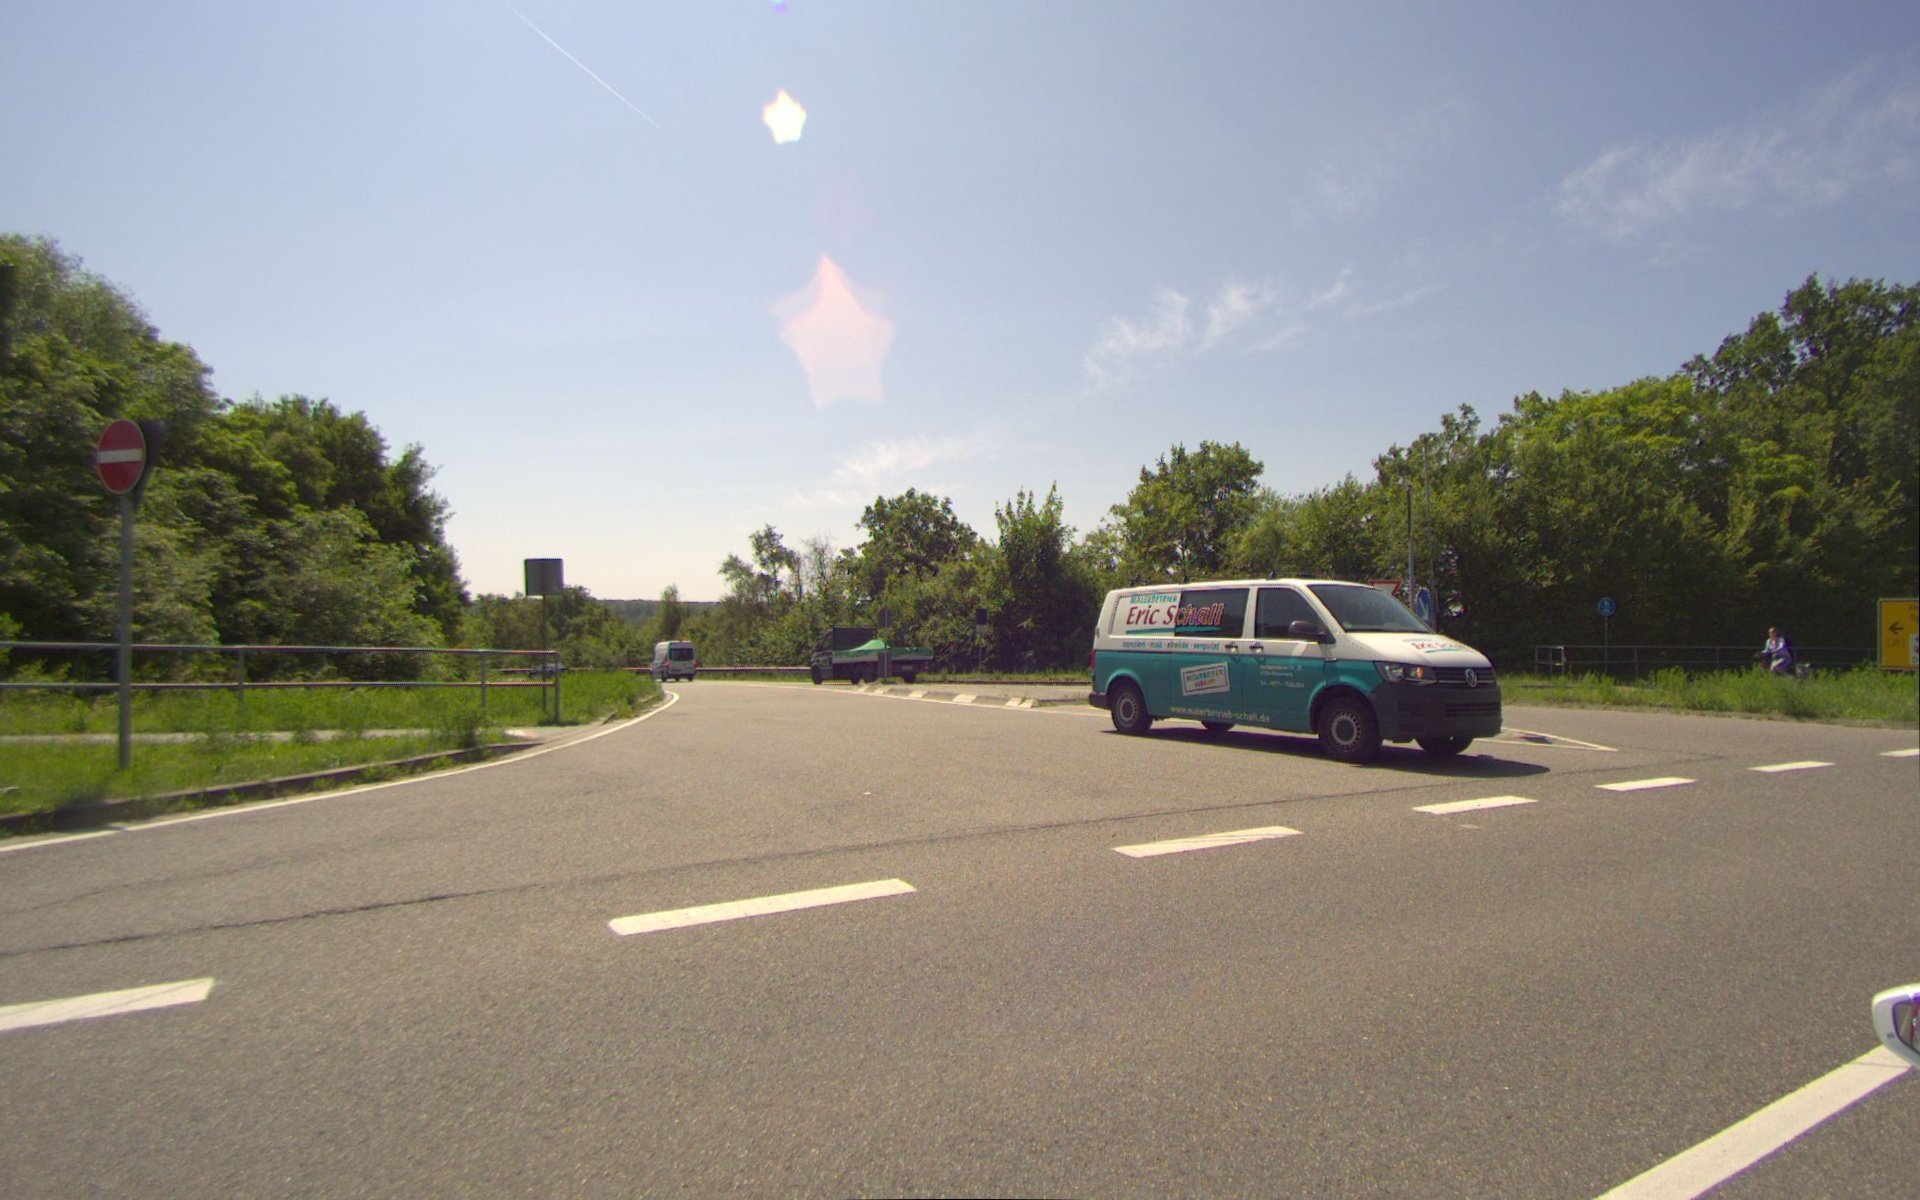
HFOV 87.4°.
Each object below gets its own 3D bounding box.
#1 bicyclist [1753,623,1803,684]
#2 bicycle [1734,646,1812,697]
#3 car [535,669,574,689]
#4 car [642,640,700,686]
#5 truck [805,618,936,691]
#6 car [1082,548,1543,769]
[{"bbox_3d":[19.182,1.243,23.568,0.597,1.381,0.690,1,-1,2],"label":"bicyclist"},{"bbox_3d":[19.069,1.665,23.571,1.452,1.128,0.437,1,-1,1],"label":"bicycle"},{"bbox_3d":[-34.691,6.758,85.863,1.667,1.683,3.948,1,-4,-45],"label":"car"},{"bbox_3d":[-19.153,4.198,66.374,2.089,2.886,5.961,2,-5,-32],"label":"car"},{"bbox_3d":[-3.639,2.176,39.481,2.125,2.598,6.575,2,-4,-35],"label":"truck"},{"bbox_3d":[3.842,0.653,12.061,1.978,2.054,5.145,1,-3,-31],"label":"car"}]
